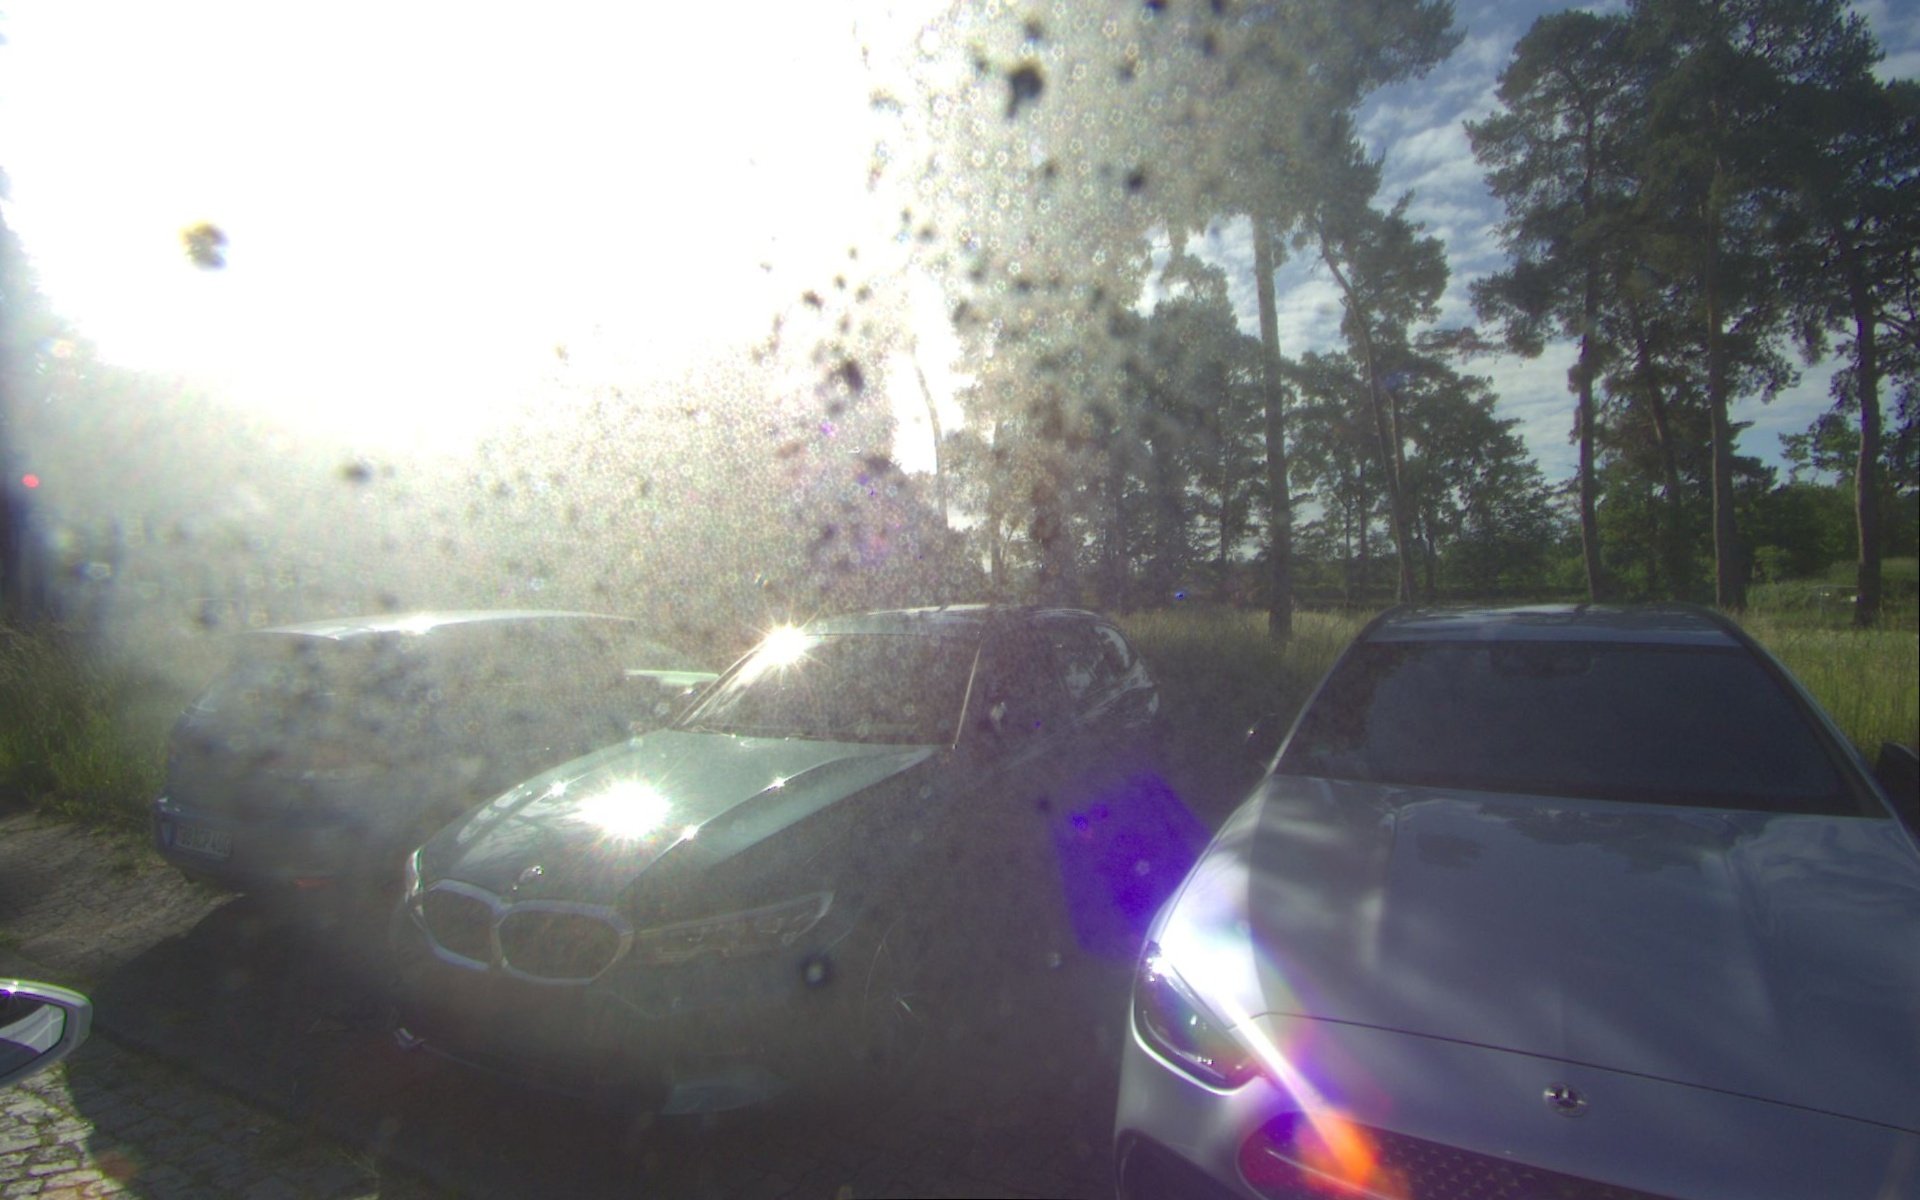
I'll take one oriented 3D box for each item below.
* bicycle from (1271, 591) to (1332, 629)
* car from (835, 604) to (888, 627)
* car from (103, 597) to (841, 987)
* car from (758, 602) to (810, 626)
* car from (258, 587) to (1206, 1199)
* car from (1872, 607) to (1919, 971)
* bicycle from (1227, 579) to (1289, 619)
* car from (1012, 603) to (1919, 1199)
[{"bbox_3d":[19.155,0.584,56.219,3.085,2.040,0.949,-2,0,30],"label":"bicycle"},{"bbox_3d":[-6.701,1.024,68.401,1.741,1.517,3.628,0,0,32],"label":"car"},{"bbox_3d":[-2.471,0.768,5.991,1.640,1.463,3.667,0,2,29],"label":"car"},{"bbox_3d":[-12.765,1.009,72.743,1.741,1.693,3.628,0,0,32],"label":"car"},{"bbox_3d":[-0.295,0.750,4.756,1.840,1.476,4.614,0,2,27],"label":"car"},{"bbox_3d":[3.955,0.795,2.455,1.630,1.468,3.974,0,1,29],"label":"car"},{"bbox_3d":[16.250,-0.026,54.650,3.084,2.040,0.949,-2,0,29],"label":"bicycle"},{"bbox_3d":[1.914,0.777,3.382,1.761,1.407,4.393,0,1,28],"label":"car"}]
